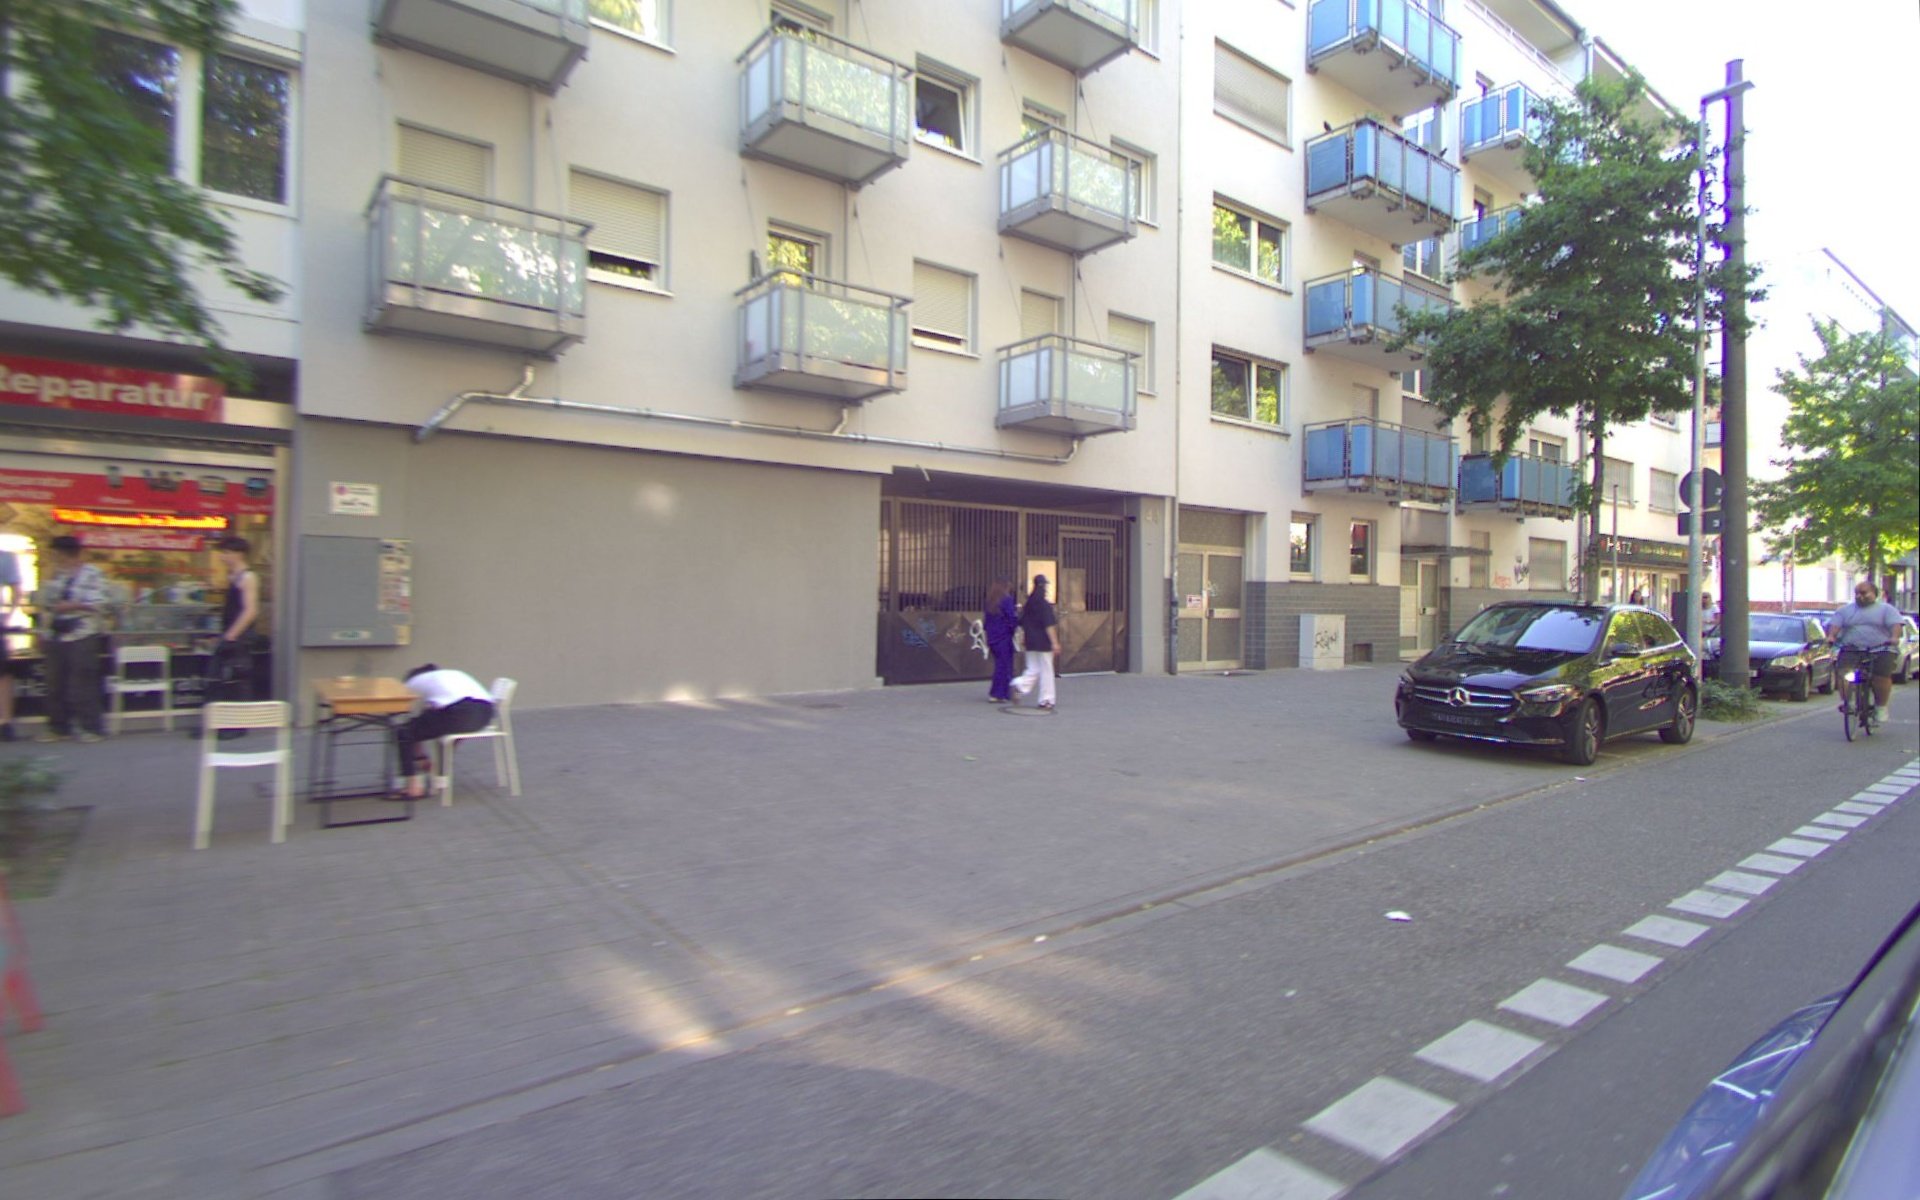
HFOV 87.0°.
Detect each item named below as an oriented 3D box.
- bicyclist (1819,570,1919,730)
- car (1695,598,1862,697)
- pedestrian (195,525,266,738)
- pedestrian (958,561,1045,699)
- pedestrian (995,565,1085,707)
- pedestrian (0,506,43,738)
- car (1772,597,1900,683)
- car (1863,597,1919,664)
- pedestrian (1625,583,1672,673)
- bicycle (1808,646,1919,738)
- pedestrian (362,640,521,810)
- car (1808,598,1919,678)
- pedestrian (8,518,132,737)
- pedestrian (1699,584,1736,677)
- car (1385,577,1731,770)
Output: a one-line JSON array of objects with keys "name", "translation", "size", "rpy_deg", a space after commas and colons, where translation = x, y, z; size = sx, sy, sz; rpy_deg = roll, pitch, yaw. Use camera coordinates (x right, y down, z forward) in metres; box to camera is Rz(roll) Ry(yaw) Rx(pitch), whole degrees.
[{"name": "bicyclist", "translation": [11.130, 0.577, 12.354], "size": [1.079, 1.854, 0.769], "rpy_deg": [0, -1, -38]}, {"name": "car", "translation": [14.575, 0.764, 17.957], "size": [3.821, 1.500, 1.626], "rpy_deg": [1, 2, -41]}, {"name": "pedestrian", "translation": [-6.460, 0.271, 8.963], "size": [0.480, 1.819, 0.432], "rpy_deg": [0, -1, -39]}, {"name": "pedestrian", "translation": [0.534, 0.362, 12.985], "size": [0.918, 1.698, 0.597], "rpy_deg": [0, 2, -41]}, {"name": "pedestrian", "translation": [0.984, 0.418, 12.432], "size": [0.854, 1.658, 0.643], "rpy_deg": [1, 2, -40]}, {"name": "pedestrian", "translation": [-8.510, 0.187, 8.732], "size": [0.776, 1.979, 0.508], "rpy_deg": [0, -1, -29]}, {"name": "car", "translation": [17.749, 0.758, 20.480], "size": [2.829, 1.556, 1.448], "rpy_deg": [1, 2, -39]}, {"name": "car", "translation": [25.280, 0.774, 26.679], "size": [4.187, 1.590, 1.723], "rpy_deg": [0, 3, -42]}, {"name": "pedestrian", "translation": [14.539, 0.575, 21.384], "size": [0.654, 1.875, 0.537], "rpy_deg": [0, -1, 13]}, {"name": "bicycle", "translation": [11.066, 1.080, 12.301], "size": [1.904, 0.949, 0.790], "rpy_deg": [0, 0, -38]}, {"name": "pedestrian", "translation": [-3.596, 0.816, 7.009], "size": [0.997, 1.040, 0.652], "rpy_deg": [-1, -1, 39]}, {"name": "car", "translation": [20.854, 0.794, 22.874], "size": [4.053, 1.556, 1.791], "rpy_deg": [1, 2, -39]}, {"name": "pedestrian", "translation": [-7.682, 0.229, 8.754], "size": [0.620, 1.828, 0.526], "rpy_deg": [0, -1, 5]}, {"name": "pedestrian", "translation": [15.441, 0.609, 20.616], "size": [0.652, 1.875, 0.476], "rpy_deg": [1, -1, -41]}, {"name": "car", "translation": [6.560, 0.632, 10.926], "size": [4.251, 1.607, 1.764], "rpy_deg": [0, 4, -39]}]
